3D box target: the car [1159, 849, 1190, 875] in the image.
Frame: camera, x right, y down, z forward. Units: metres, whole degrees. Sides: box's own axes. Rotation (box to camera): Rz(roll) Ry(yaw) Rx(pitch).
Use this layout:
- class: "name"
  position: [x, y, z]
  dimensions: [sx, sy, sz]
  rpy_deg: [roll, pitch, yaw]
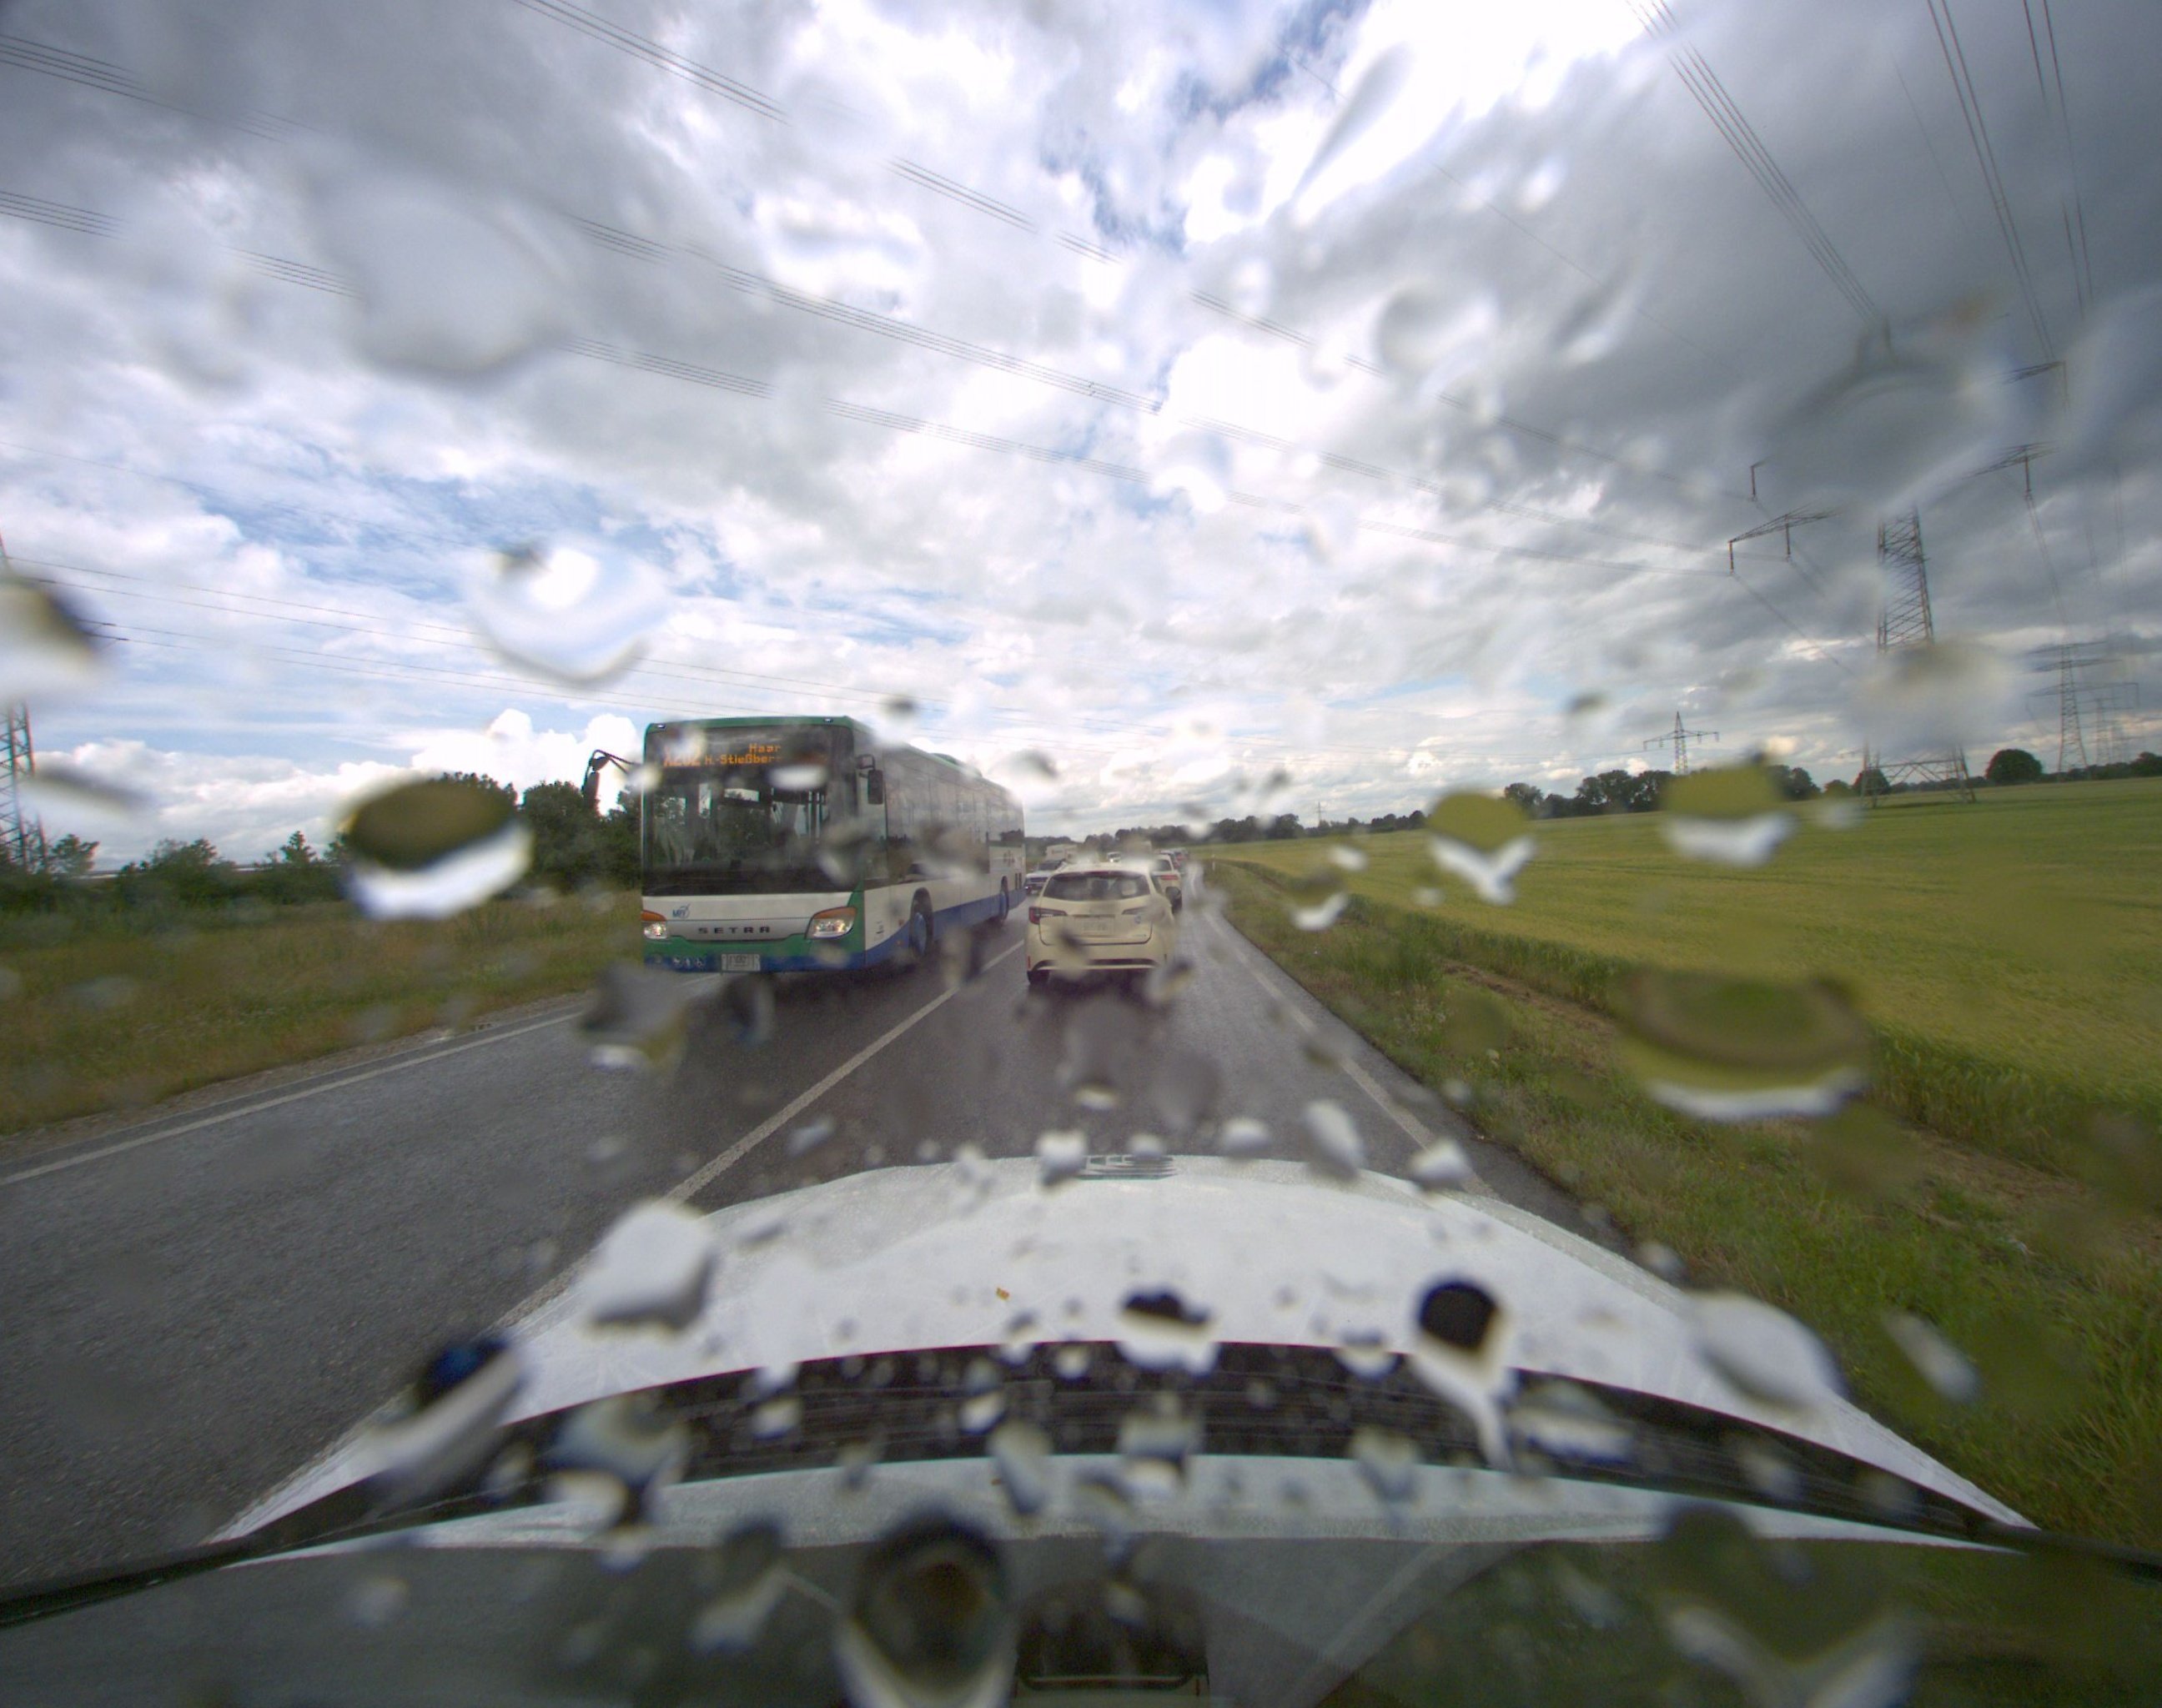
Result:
- class: "car"
  position: [5.408, 0.497, 46.771]
  dimensions: [1.603, 1.413, 3.747]
  rpy_deg: [-1, -1, 8]

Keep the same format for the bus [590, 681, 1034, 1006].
- class: "bus"
  position: [-3.178, -0.098, 14.667]
  dimensions: [2.745, 3.298, 12.520]
  rpy_deg: [-1, 0, 5]

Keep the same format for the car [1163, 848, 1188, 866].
- class: "car"
  position: [7.689, 0.273, 66.120]
  dimensions: [1.949, 1.413, 4.400]
  rpy_deg: [-1, -1, 7]

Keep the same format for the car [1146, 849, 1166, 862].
- class: "car"
  position: [8.494, 0.166, 92.460]
  dimensions: [1.778, 1.413, 3.736]
  rpy_deg: [-1, -1, -1]

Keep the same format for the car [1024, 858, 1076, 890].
- class: "car"
  position: [-1.222, 0.832, 34.041]
  dimensions: [1.711, 1.251, 4.004]
  rpy_deg: [-1, -1, 4]

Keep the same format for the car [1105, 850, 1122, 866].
- class: "car"
  position: [3.899, 0.482, 98.157]
  dimensions: [1.839, 1.855, 4.444]
  rpy_deg: [-1, 0, -1]

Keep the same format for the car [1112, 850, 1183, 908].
- class: "car"
  position: [2.014, 0.662, 23.736]
  dimensions: [1.832, 1.492, 4.616]
  rpy_deg: [-1, 0, 6]

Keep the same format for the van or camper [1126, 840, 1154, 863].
- class: "van or camper"
  position: [7.739, -0.296, 107.817]
  dimensions: [2.533, 2.896, 6.730]
  rpy_deg: [-1, 0, -5]

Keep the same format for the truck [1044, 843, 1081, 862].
- class: "truck"
  position: [-3.333, -0.222, 141.137]
  dimensions: [3.031, 3.209, 8.156]
  rpy_deg: [0, -1, -28]

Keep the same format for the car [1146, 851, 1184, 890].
- class: "car"
  position: [3.833, 0.759, 37.062]
  dimensions: [1.604, 1.659, 3.745]
  rpy_deg: [-1, -1, 7]

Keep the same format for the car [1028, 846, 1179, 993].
- class: "car"
  position: [0.430, 0.747, 10.633]
  dimensions: [1.605, 1.562, 3.744]
  rpy_deg: [-1, -1, 6]

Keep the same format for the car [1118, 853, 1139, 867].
- class: "car"
  position: [4.841, 0.641, 83.353]
  dimensions: [1.838, 1.388, 4.286]
  rpy_deg: [-1, 0, 0]

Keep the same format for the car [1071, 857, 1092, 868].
- class: "car"
  position: [0.041, 1.258, 120.906]
  dimensions: [1.854, 1.631, 4.507]
  rpy_deg: [-3, 0, -17]
